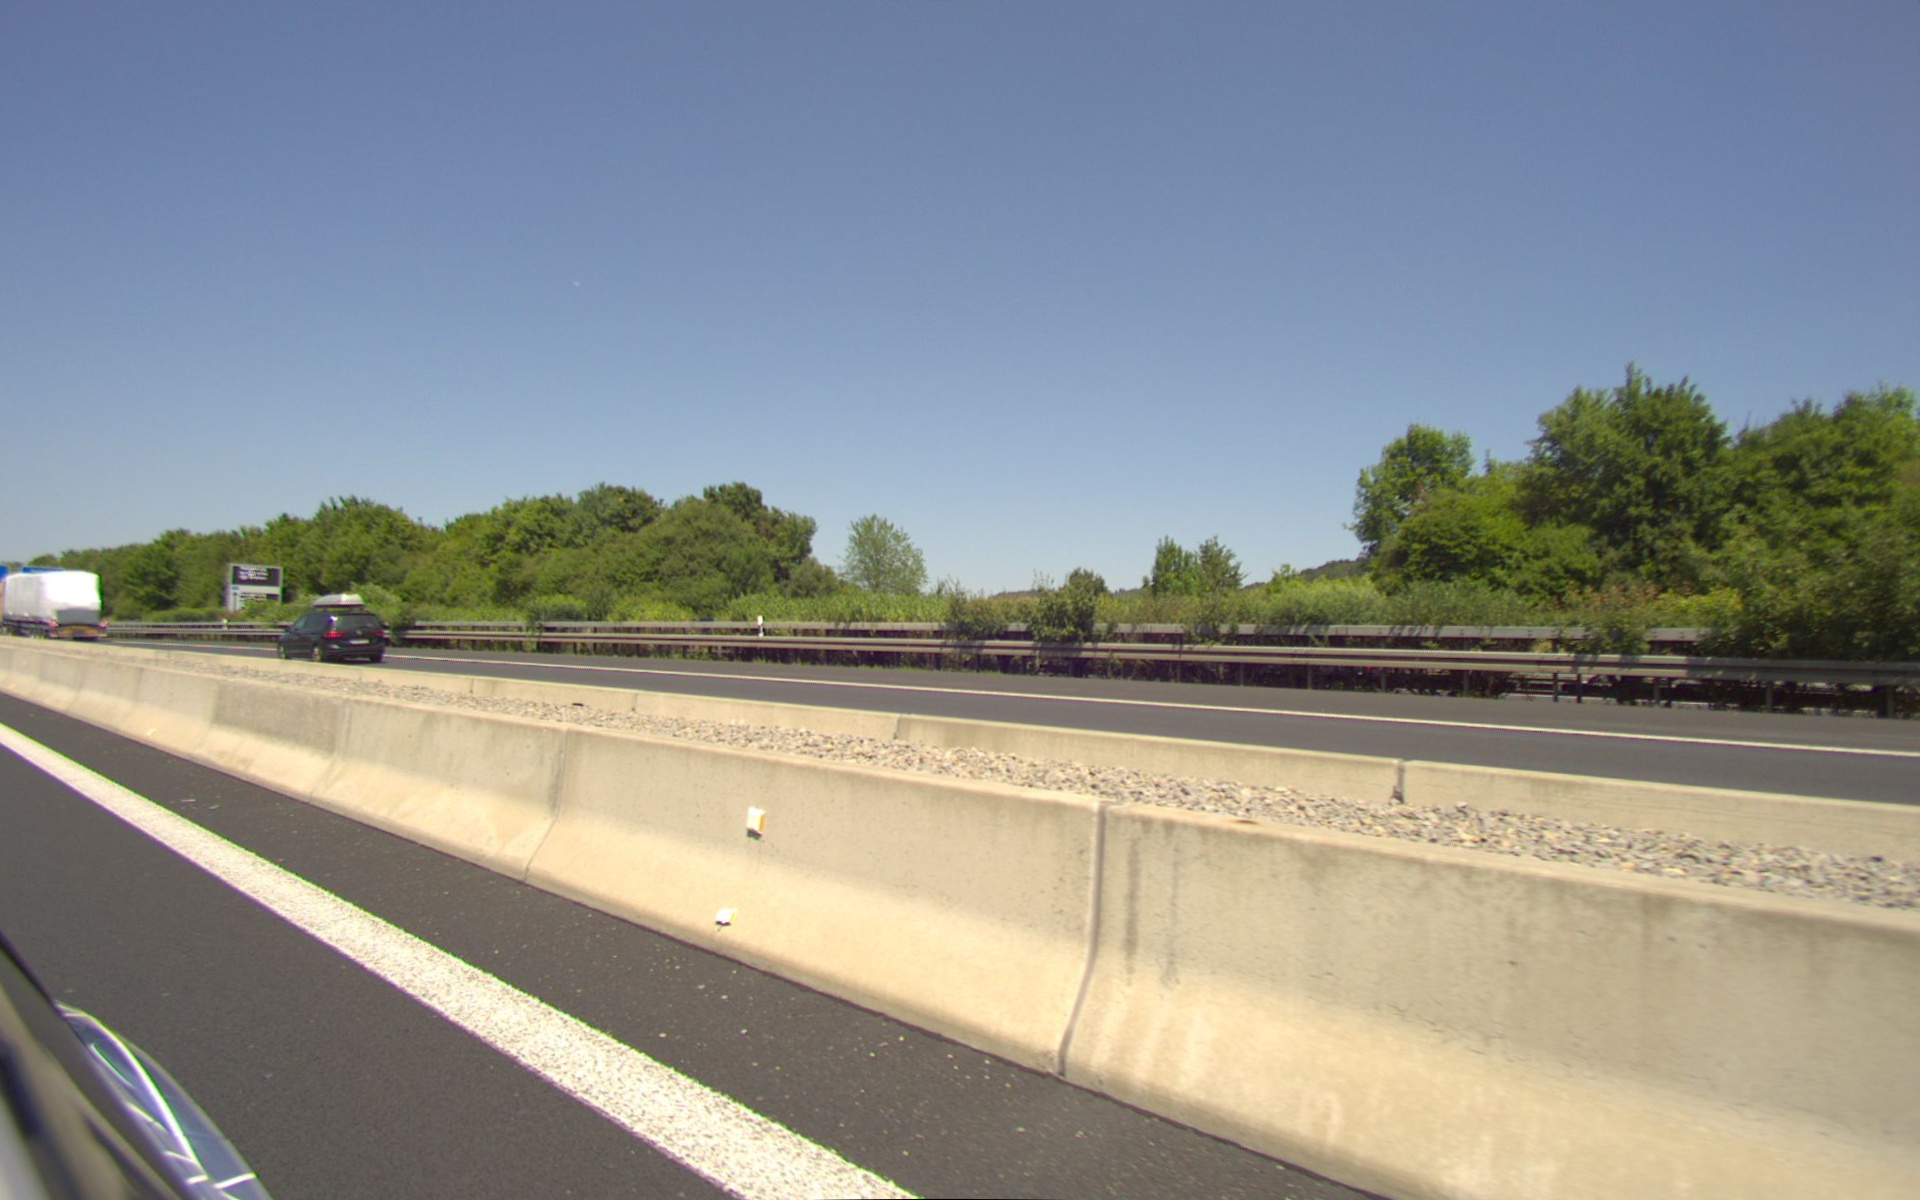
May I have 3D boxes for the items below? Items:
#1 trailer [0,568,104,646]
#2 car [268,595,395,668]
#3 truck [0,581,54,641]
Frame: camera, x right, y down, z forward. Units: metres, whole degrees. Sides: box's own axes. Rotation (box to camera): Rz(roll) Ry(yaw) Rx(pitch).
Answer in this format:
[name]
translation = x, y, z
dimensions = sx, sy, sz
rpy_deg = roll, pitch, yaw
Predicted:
[trailer]
translation = -55.293, 0.409, 61.368
dimensions = 12.807, 4.345, 2.692
rpy_deg = 0, -1, 38
[car]
translation = -19.487, 0.955, 31.305
dimensions = 4.700, 2.097, 1.973
rpy_deg = -1, -1, 40
[truck]
translation = -62.179, 0.722, 66.879
dimensions = 4.860, 3.783, 2.723
rpy_deg = 0, -1, 39
